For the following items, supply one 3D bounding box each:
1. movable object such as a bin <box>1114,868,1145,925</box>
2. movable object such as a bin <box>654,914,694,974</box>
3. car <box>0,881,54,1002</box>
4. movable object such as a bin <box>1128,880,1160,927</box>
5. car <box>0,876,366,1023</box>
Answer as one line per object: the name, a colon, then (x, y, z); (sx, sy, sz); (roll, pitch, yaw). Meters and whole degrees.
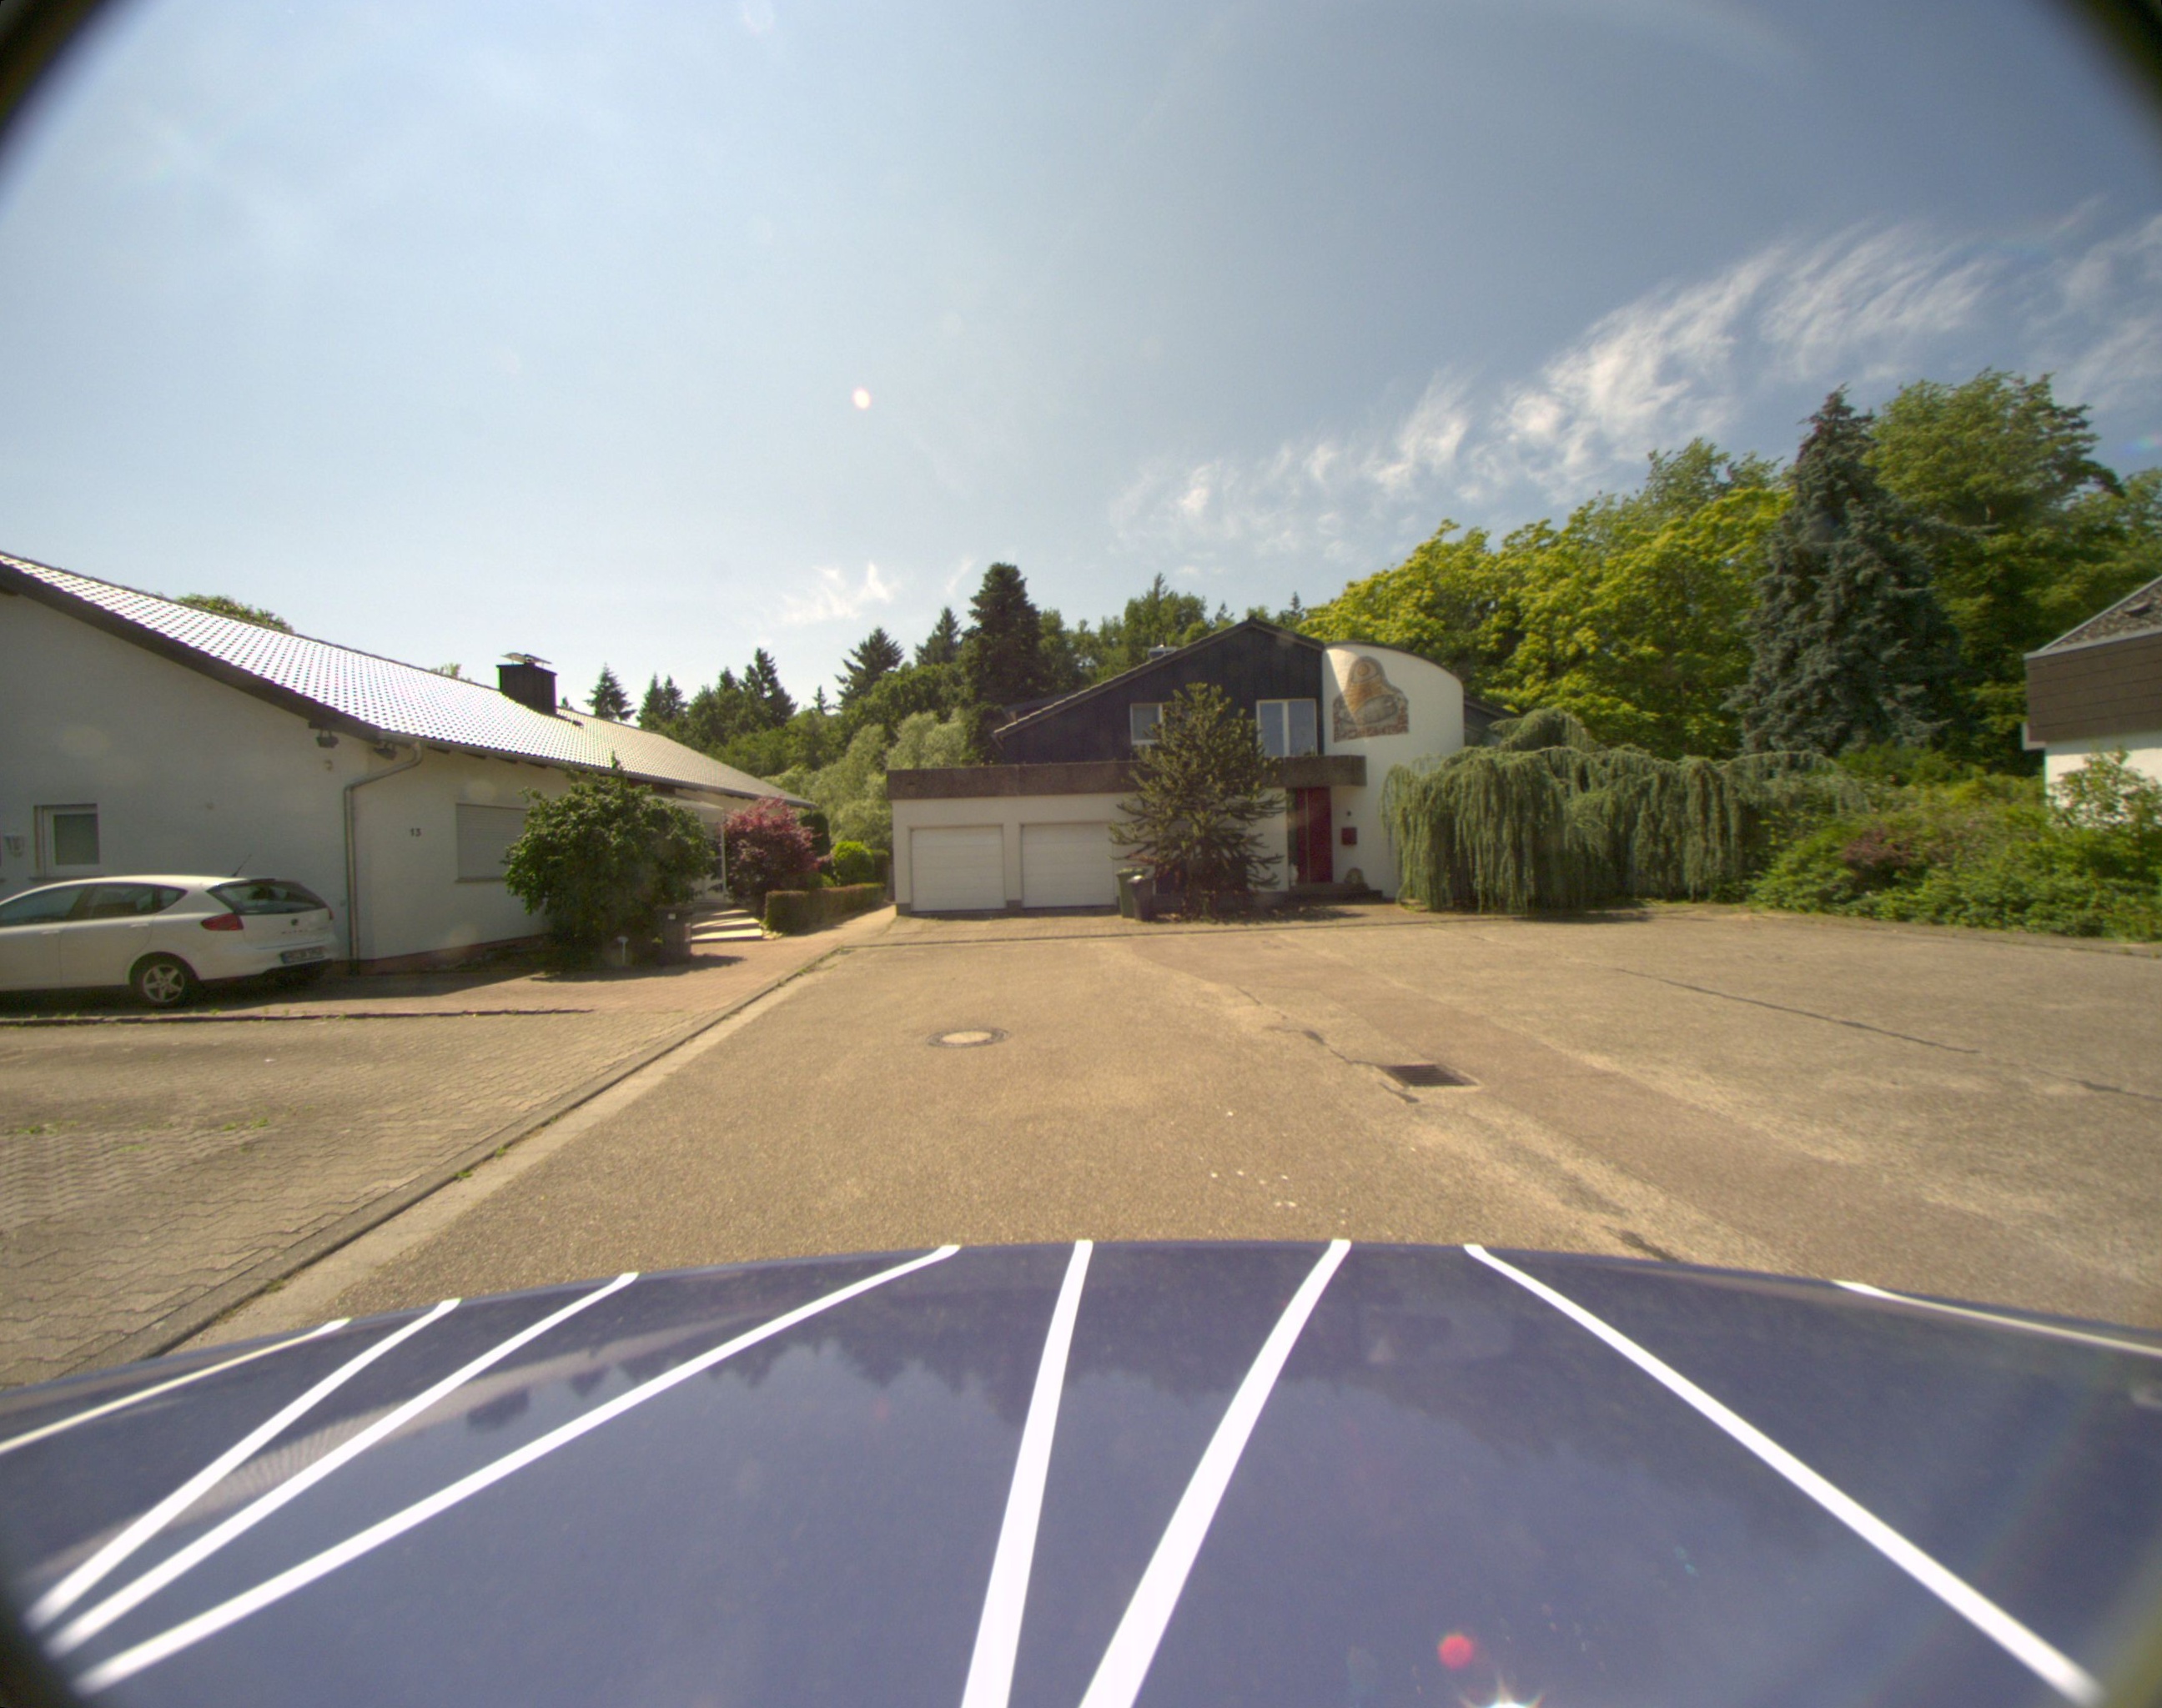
movable object such as a bin: (1.062, 0.932, 16.726); (0.633, 1.196, 0.551); (-2, 1, 1)
movable object such as a bin: (-6.312, 1.390, 11.793); (0.390, 0.886, 0.375); (-2, 2, -1)
car: (-16.531, 1.230, 9.764); (3.997, 1.599, 1.928); (-1, 1, 0)
movable object such as a bin: (1.337, 1.045, 16.055); (0.524, 0.944, 0.388); (-2, 1, -26)
car: (-11.984, 1.145, 9.645); (3.998, 1.559, 1.751); (-2, 1, -3)
